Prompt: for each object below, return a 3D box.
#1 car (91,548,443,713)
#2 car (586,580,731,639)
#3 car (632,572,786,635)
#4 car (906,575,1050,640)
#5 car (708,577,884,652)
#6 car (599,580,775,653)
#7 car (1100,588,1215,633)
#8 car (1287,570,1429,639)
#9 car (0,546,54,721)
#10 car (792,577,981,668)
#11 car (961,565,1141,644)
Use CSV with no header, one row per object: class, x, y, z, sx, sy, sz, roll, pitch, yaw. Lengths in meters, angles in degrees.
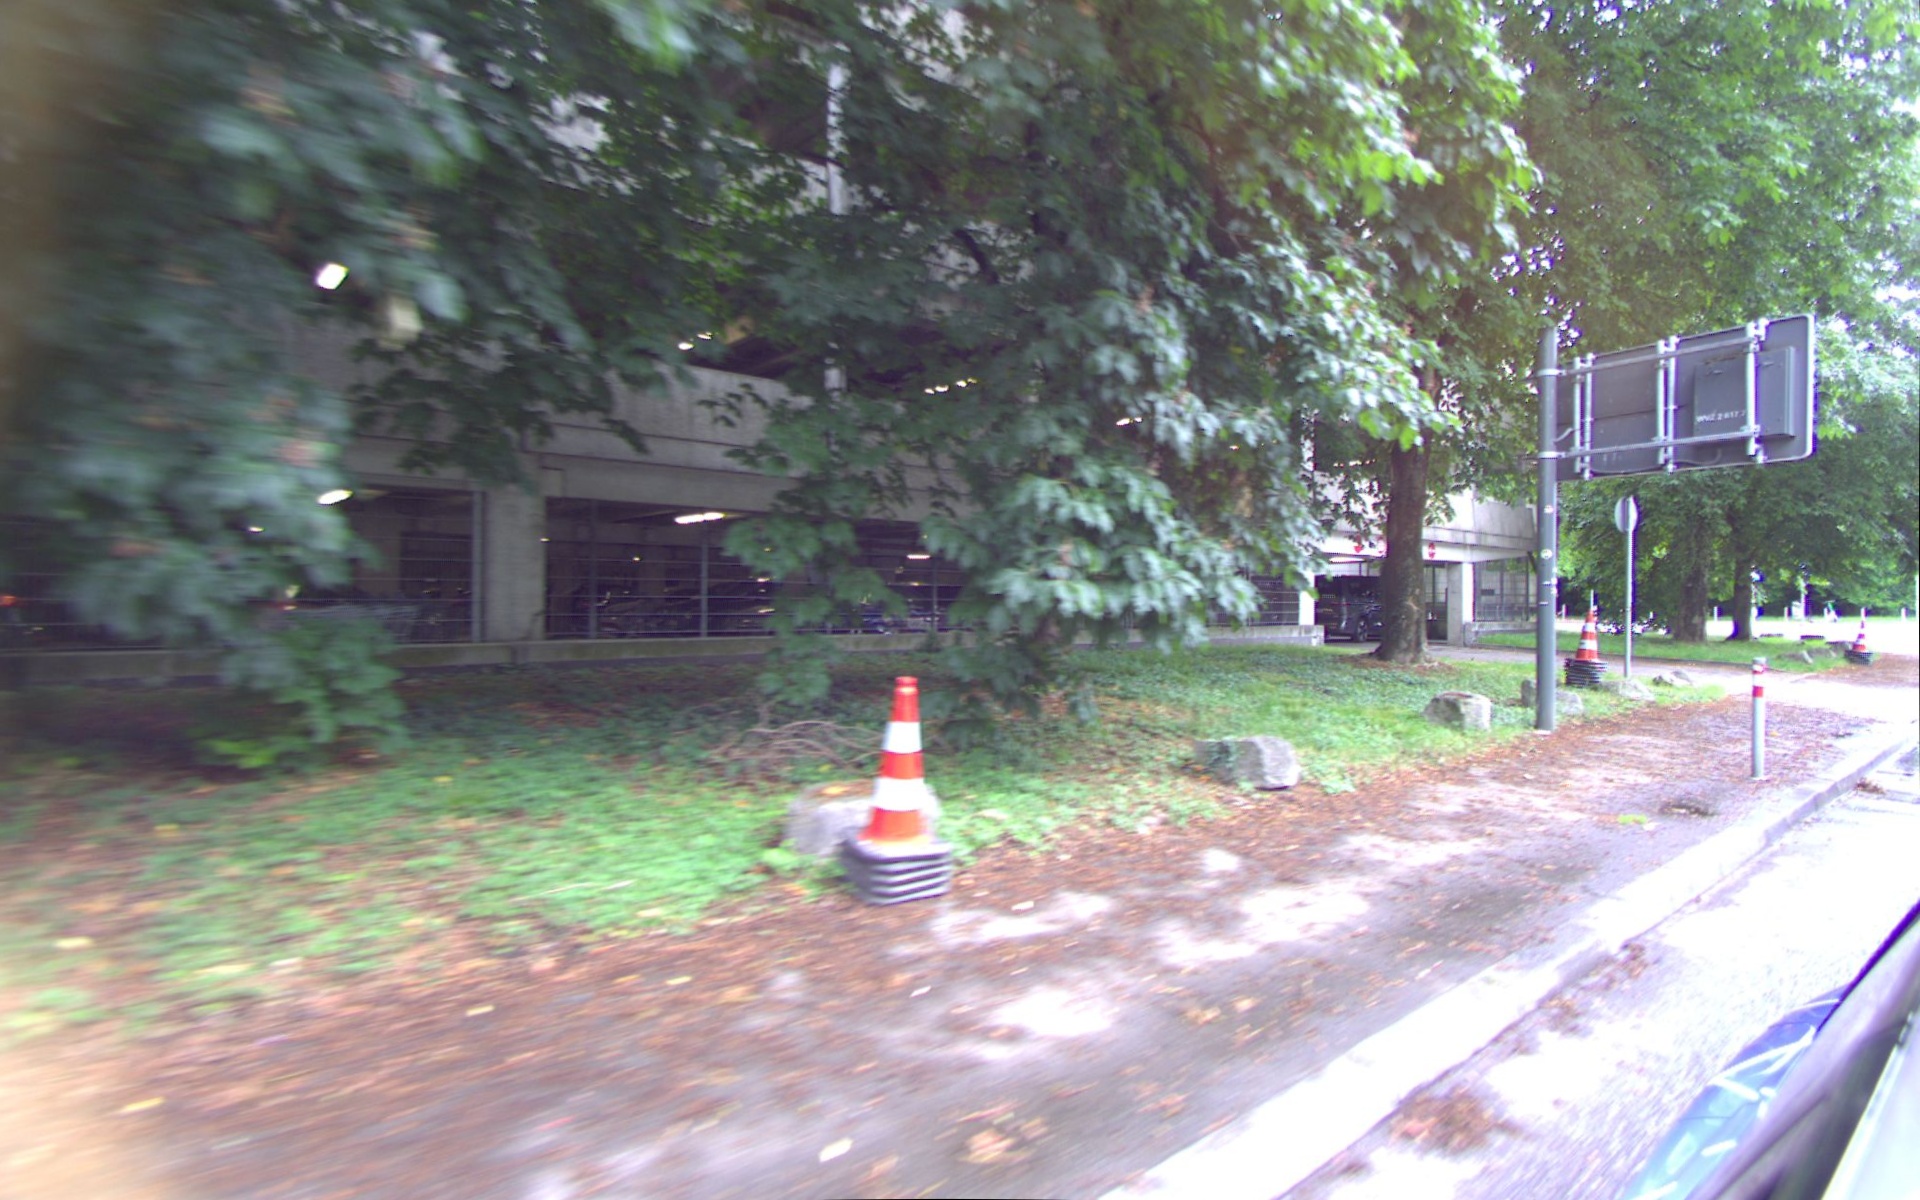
car,-9.815,0.346,14.513,3.929,2.039,1.997,-1,0,-40
car,-8.684,0.249,29.293,3.638,1.565,1.719,-2,0,-41
car,-6.692,0.063,27.134,3.639,1.565,1.718,-2,0,-42
car,0.523,0.166,26.899,3.629,1.606,1.718,-2,0,-42
car,-3.719,0.293,23.241,3.639,1.565,1.718,-2,0,-42
car,-6.409,0.350,23.980,3.639,1.565,1.718,-2,0,-42
car,7.057,0.339,36.031,3.927,1.471,1.876,-2,0,-38
car,11.580,0.124,29.287,4.653,1.858,1.922,0,-1,-41
car,-13.271,0.445,11.321,4.594,2.039,1.996,-2,0,-41
car,-1.502,0.420,21.422,3.790,1.730,1.588,-1,0,-41
car,2.272,0.063,24.407,4.587,1.730,1.588,-2,0,-41
